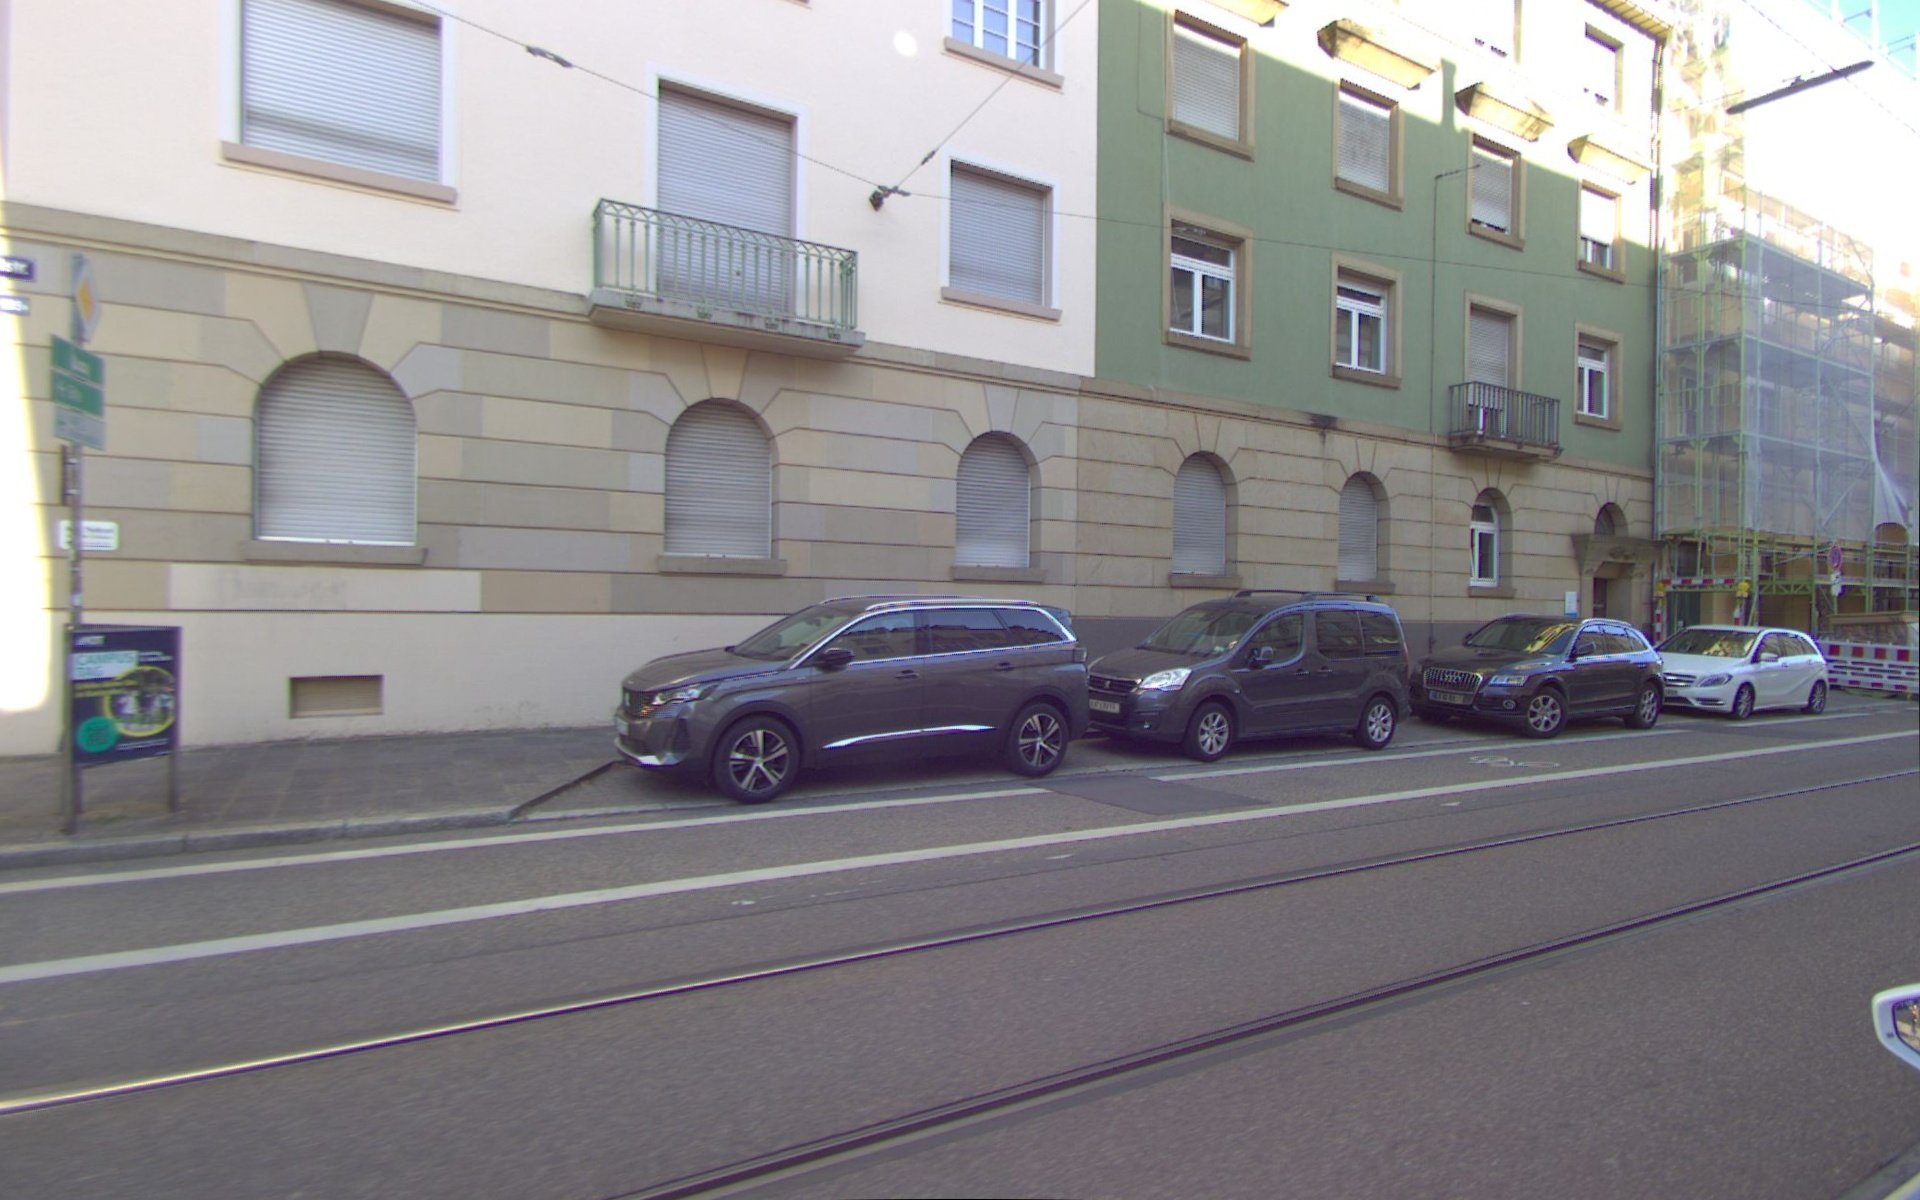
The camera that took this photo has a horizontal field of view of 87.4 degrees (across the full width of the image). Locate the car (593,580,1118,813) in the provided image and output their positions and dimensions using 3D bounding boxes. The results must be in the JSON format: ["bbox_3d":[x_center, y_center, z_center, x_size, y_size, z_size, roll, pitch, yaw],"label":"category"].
[{"bbox_3d":[-0.868,0.735,9.472,4.616,1.713,1.773,1,2,-32],"label":"car"}]

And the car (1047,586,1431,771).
[{"bbox_3d":[3.410,0.820,12.082,4.473,1.840,1.775,1,1,-29],"label":"car"}]

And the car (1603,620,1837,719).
[{"bbox_3d":[13.663,1.166,18.012,4.334,1.523,1.710,1,1,-29],"label":"car"}]

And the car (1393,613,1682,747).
[{"bbox_3d":[8.630,1.070,14.895,4.558,1.649,1.773,1,2,-32],"label":"car"}]
